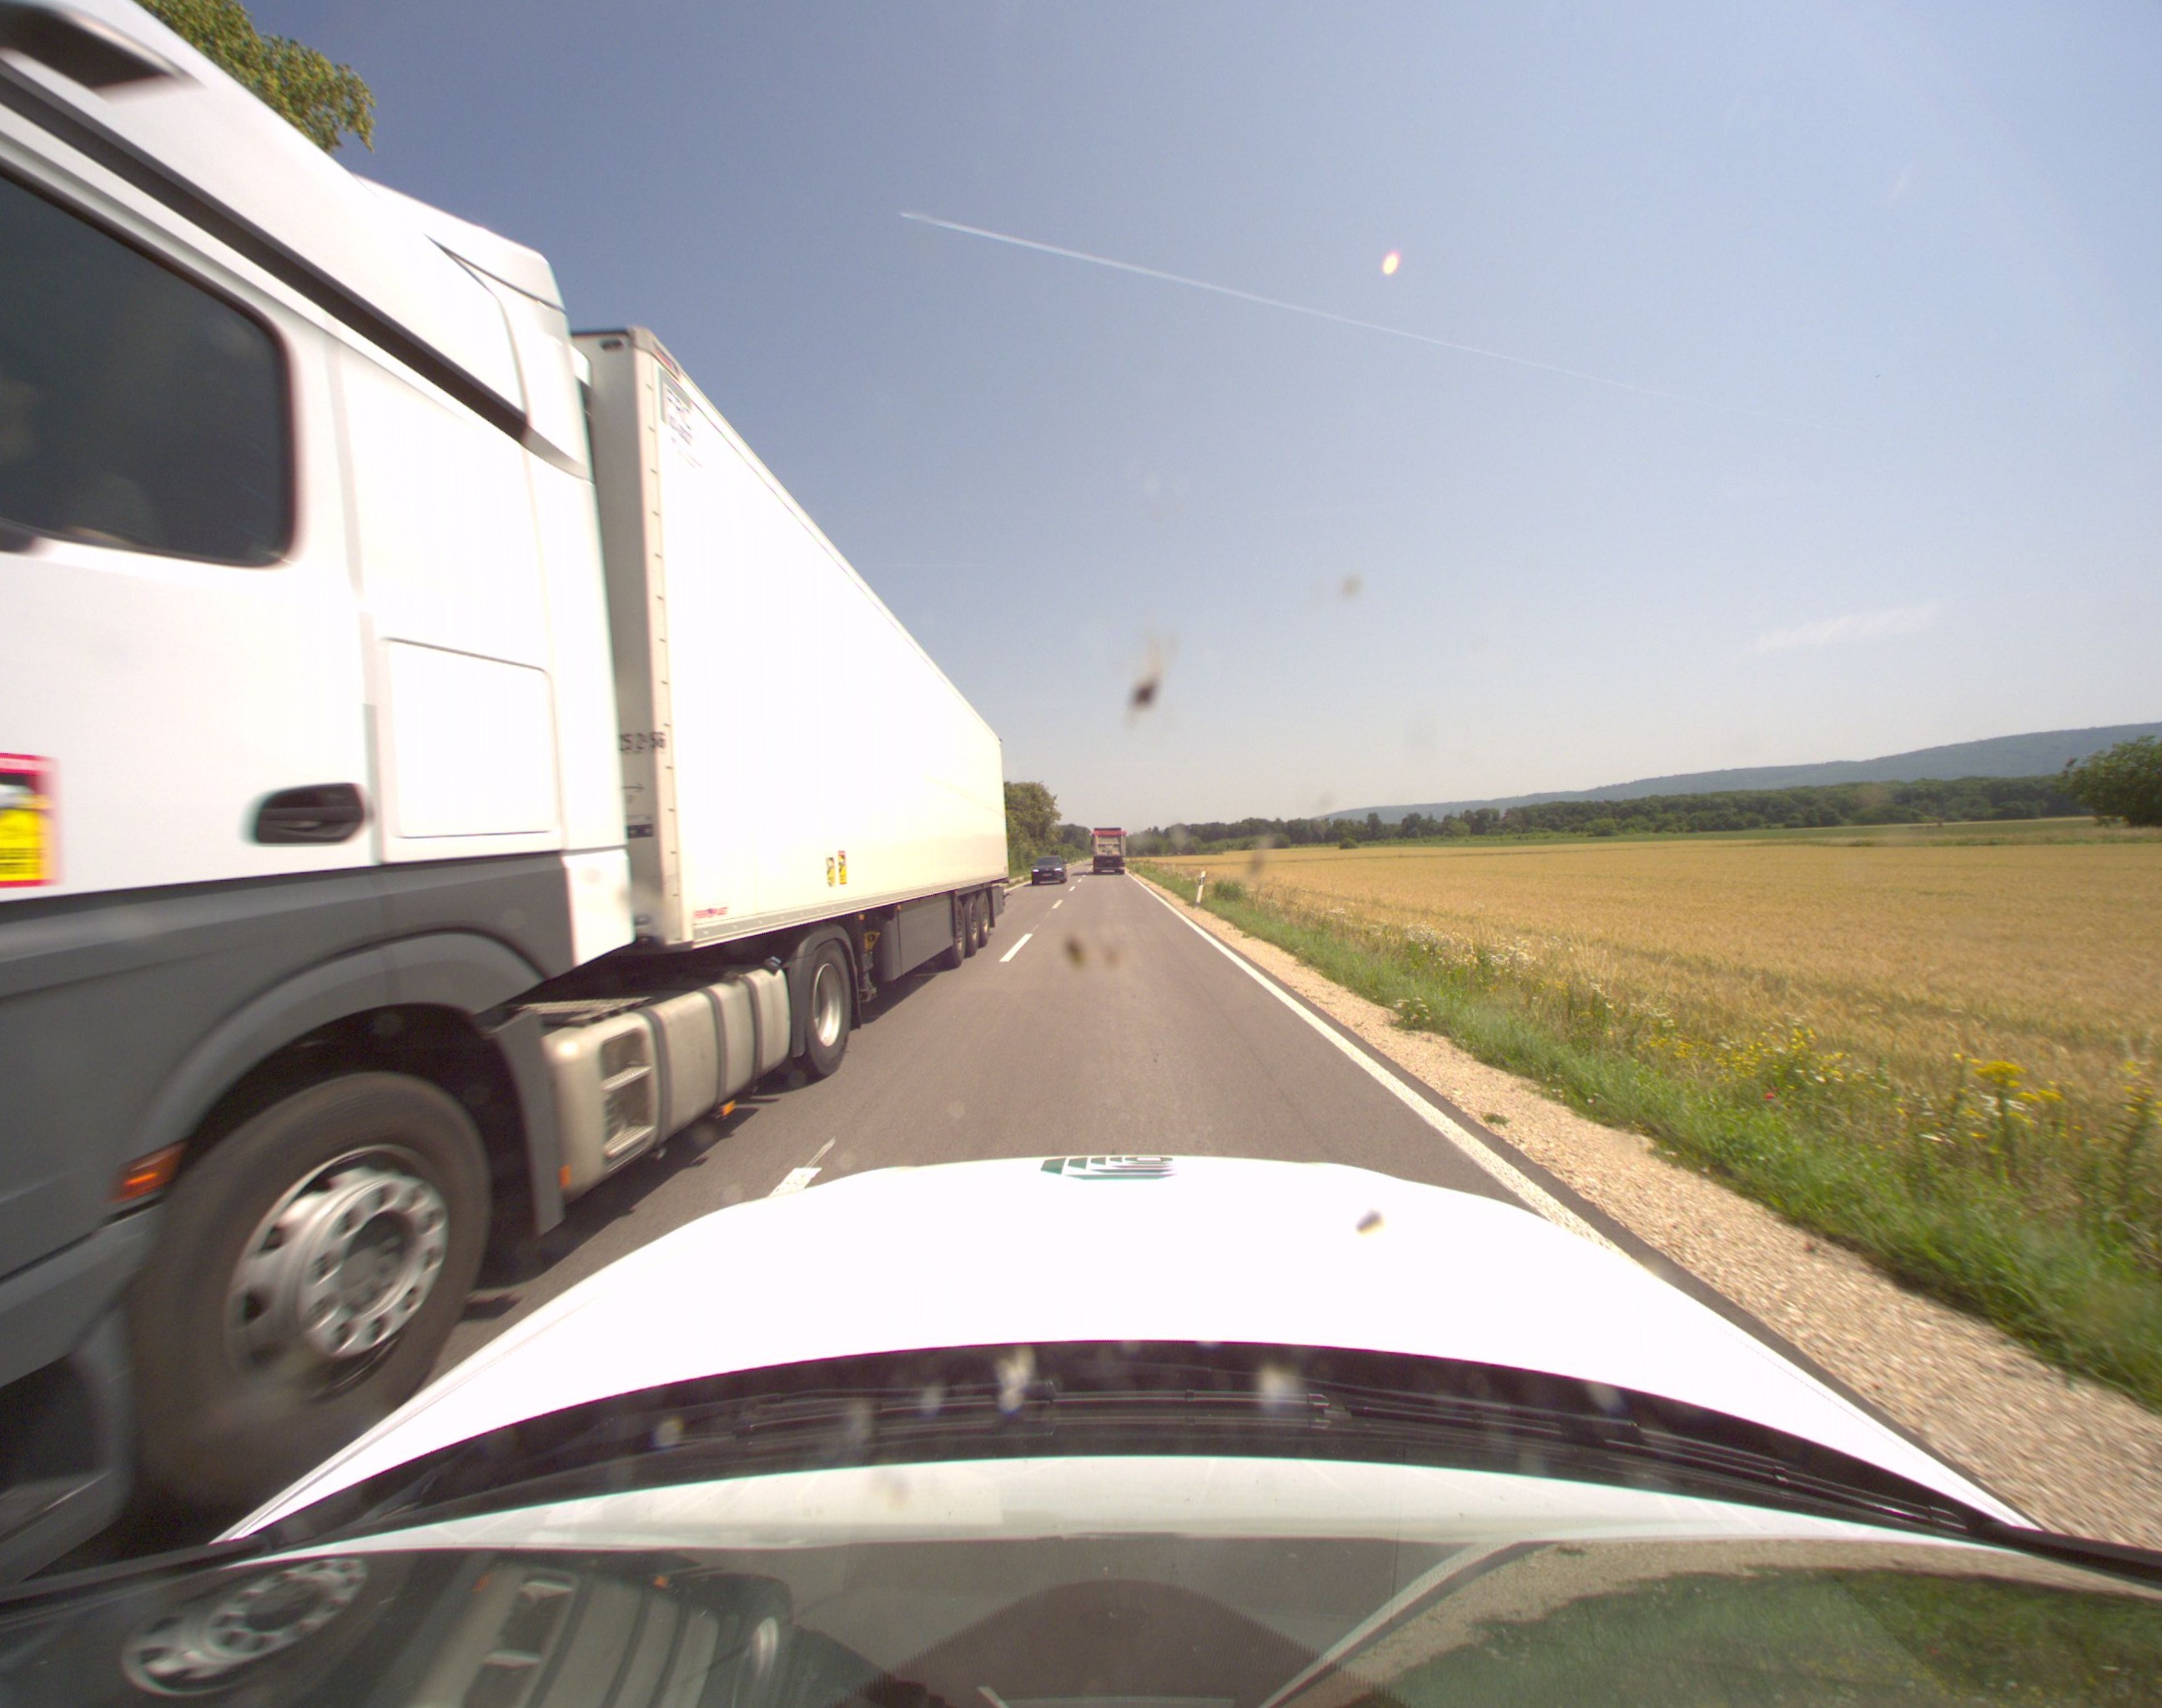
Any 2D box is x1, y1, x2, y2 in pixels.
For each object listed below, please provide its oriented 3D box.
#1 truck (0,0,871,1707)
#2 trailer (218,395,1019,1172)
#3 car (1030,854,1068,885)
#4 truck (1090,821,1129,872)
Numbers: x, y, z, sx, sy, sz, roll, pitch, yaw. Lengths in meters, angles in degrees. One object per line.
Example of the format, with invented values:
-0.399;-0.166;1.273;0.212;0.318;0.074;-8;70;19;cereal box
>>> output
-3.207;-0.360;3.701;2.646;3.977;5.729;-3;0;2;truck
-2.979;-0.377;10.998;2.643;3.977;13.358;-3;0;2;trailer
-1.778;0.860;46.725;1.785;1.574;4.480;-3;0;1;car
2.361;-0.494;68.483;2.998;3.874;12.213;0;-1;2;truck
